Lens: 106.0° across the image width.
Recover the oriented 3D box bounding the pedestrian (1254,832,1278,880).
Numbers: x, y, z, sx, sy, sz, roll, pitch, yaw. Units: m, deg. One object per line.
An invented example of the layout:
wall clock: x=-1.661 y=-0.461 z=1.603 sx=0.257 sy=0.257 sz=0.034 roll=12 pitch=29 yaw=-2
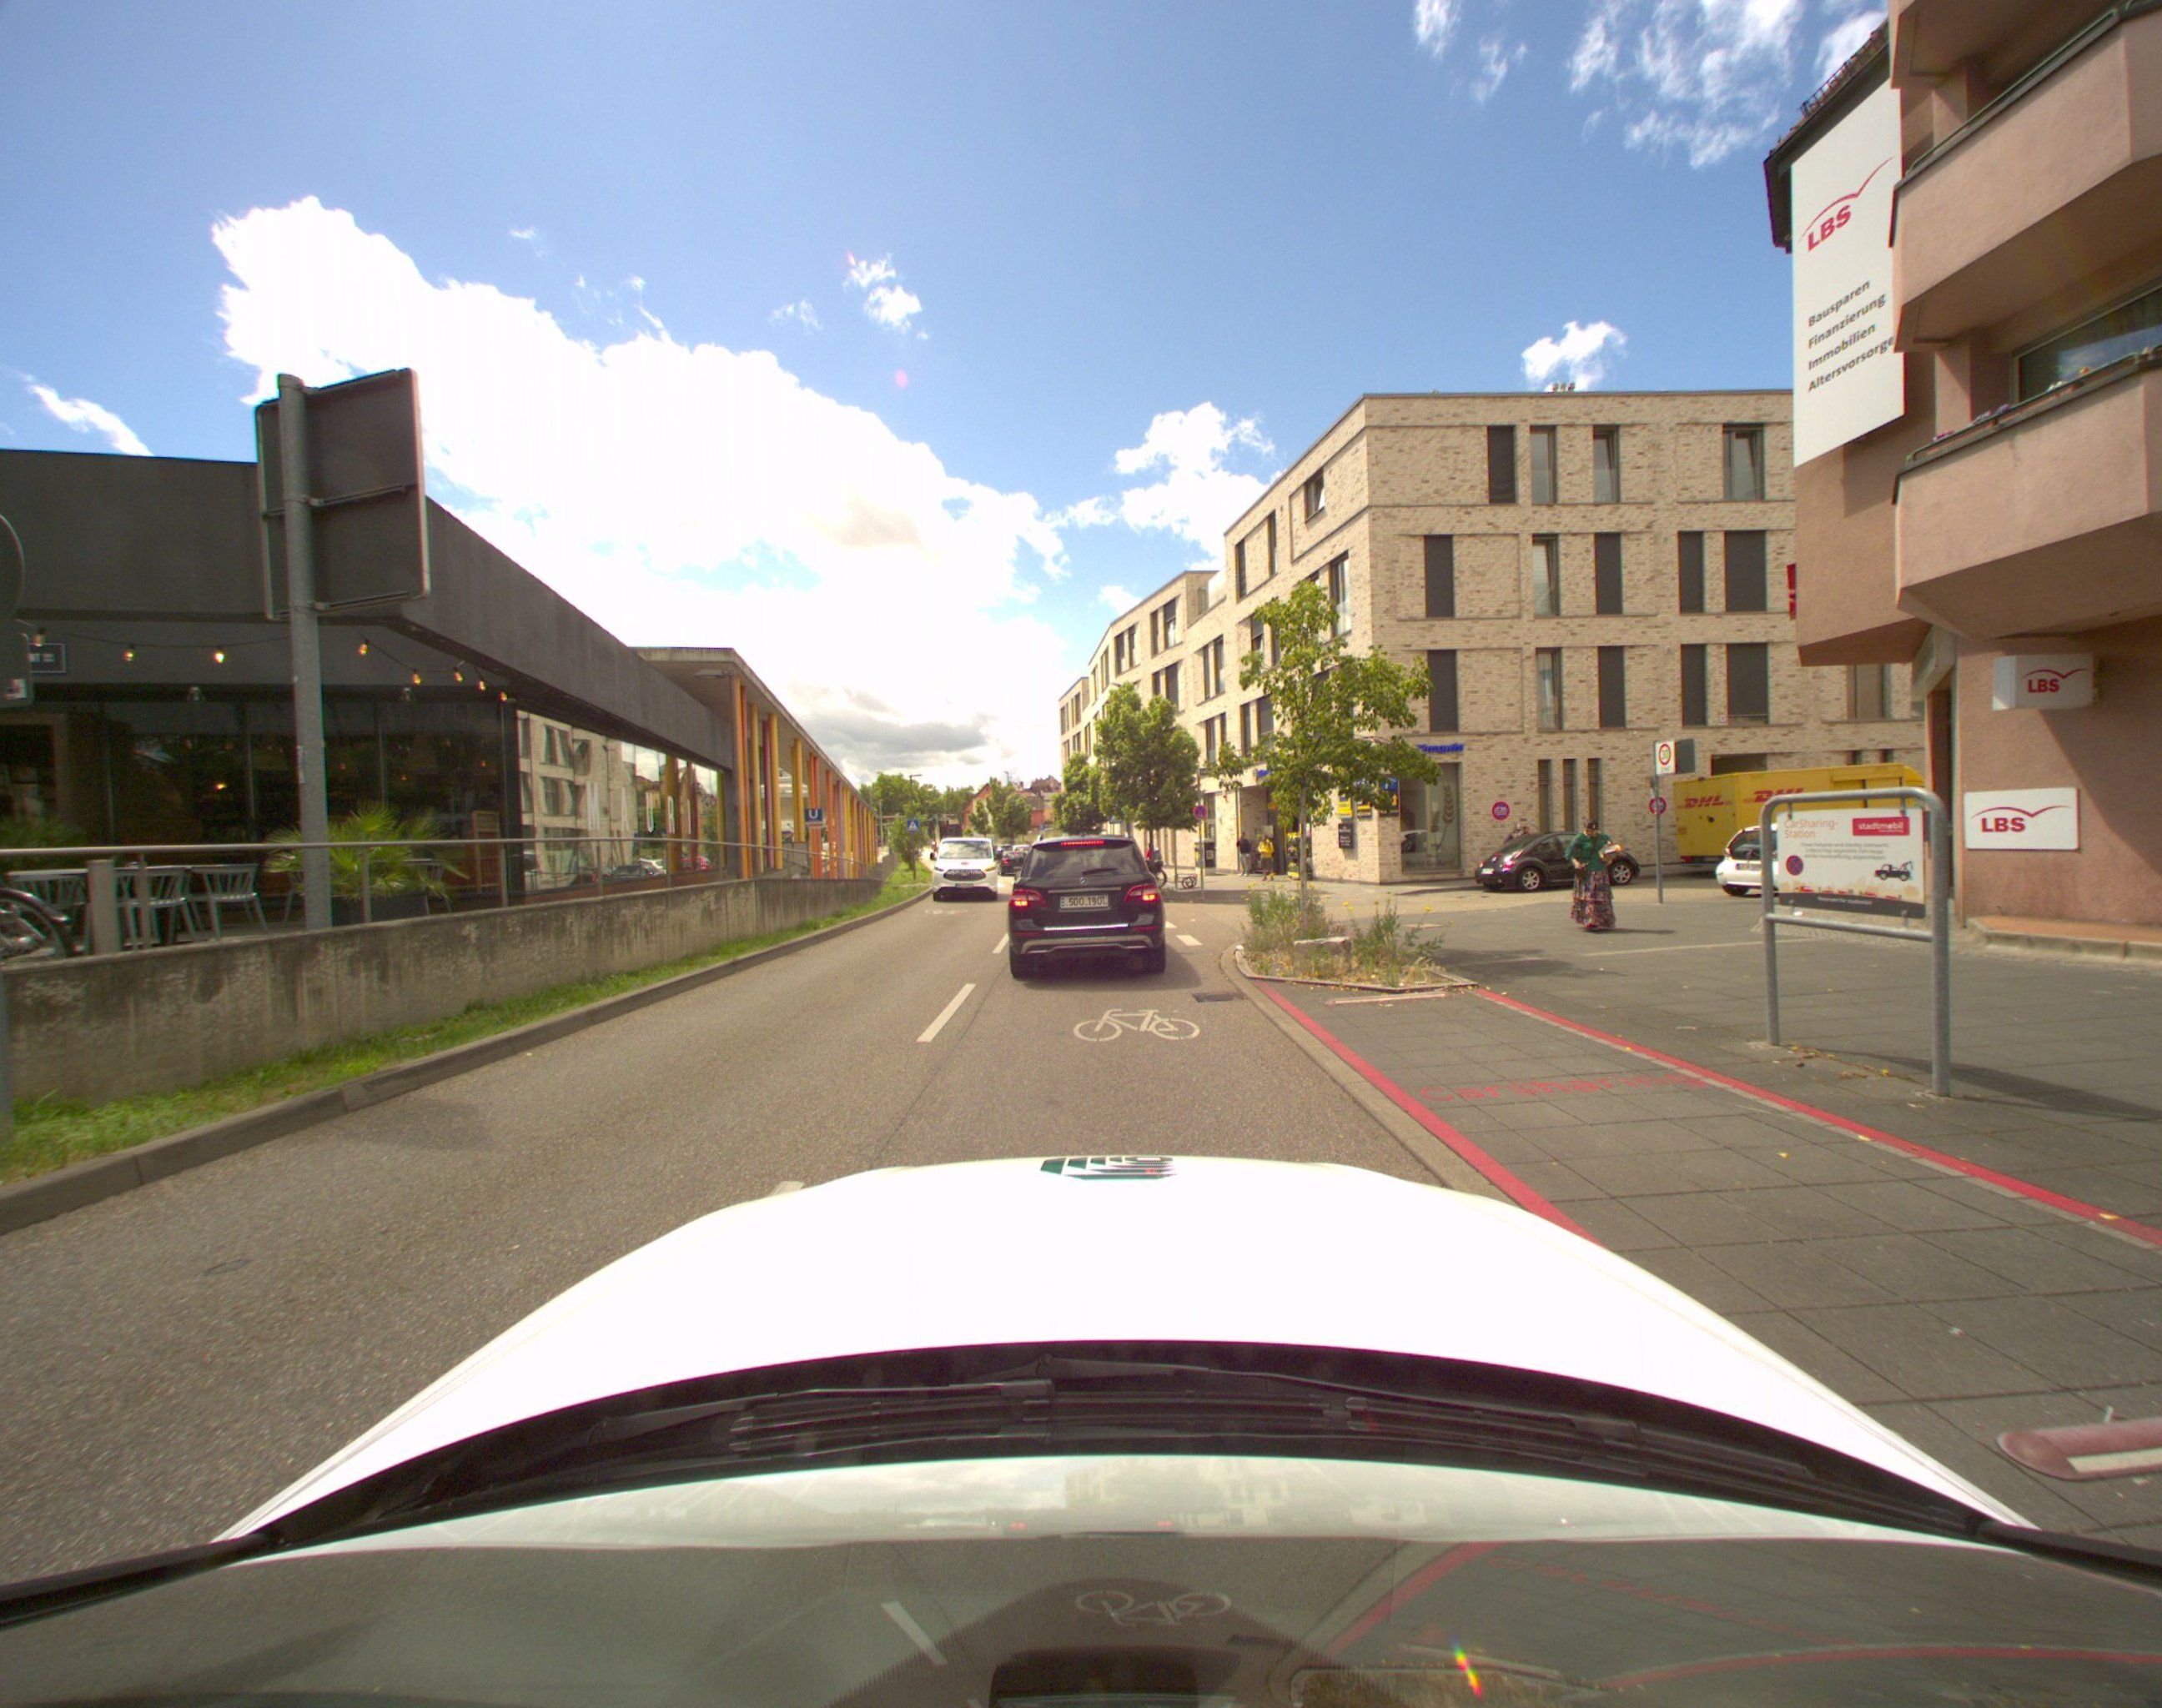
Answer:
pedestrian: x=6.739 y=0.064 z=29.641 sx=0.651 sy=1.692 sz=0.635 roll=-2 pitch=1 yaw=28

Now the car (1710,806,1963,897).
car: x=14.680 y=-0.058 z=15.957 sx=3.371 sy=1.477 sz=1.718 roll=-4 pitch=1 yaw=-1

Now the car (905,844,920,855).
car: x=-22.531 y=-0.639 z=108.909 sx=1.813 sy=1.469 sz=3.892 roll=-1 pitch=1 yaw=-12

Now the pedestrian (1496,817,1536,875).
pedestrian: x=12.686 y=-0.227 z=23.747 sx=0.557 sy=1.671 sz=0.807 roll=0 pitch=-1 yaw=-33

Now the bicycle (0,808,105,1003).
bicycle: x=-7.030 y=0.330 z=4.936 sx=1.541 sy=1.127 sz=0.534 roll=-3 pitch=0 yaw=1

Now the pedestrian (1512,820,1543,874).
pedestrian: x=13.212 y=-0.210 z=24.112 sx=0.524 sy=1.573 sz=0.597 roll=0 pitch=-1 yaw=-33

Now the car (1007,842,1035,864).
car: x=-4.626 y=-0.094 z=62.474 sx=1.693 sy=1.483 sz=3.784 roll=-4 pitch=2 yaw=-11

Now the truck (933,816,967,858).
truck: x=-15.121 y=-1.889 z=93.485 sx=3.207 sy=4.535 sz=8.988 roll=-1 pitch=0 yaw=-13

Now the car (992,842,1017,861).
car: x=-6.740 y=-0.224 z=71.549 sx=1.693 sy=1.461 sz=4.131 roll=-4 pitch=2 yaw=-11

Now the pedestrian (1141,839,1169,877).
pedestrian: x=3.086 y=0.160 z=34.030 sx=0.814 sy=1.565 sz=0.924 roll=-1 pitch=-1 yaw=-18

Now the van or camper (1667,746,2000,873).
van or camper: x=19.890 y=-1.122 z=21.741 sx=6.839 sy=2.736 sz=2.274 roll=-4 pitch=-1 yaw=-3

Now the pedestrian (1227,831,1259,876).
pedestrian: x=6.556 y=-0.030 z=33.029 sx=1.017 sy=1.741 sz=0.656 roll=-3 pitch=0 yaw=-16

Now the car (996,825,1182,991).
car: x=0.159 y=0.566 z=11.416 sx=1.986 sy=1.746 sz=4.534 roll=-4 pitch=1 yaw=2

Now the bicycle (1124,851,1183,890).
bicycle: x=2.438 y=0.557 z=27.601 sx=1.820 sy=1.201 sz=0.755 roll=-3 pitch=0 yaw=-6

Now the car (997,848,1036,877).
car: x=-3.708 y=0.440 z=46.363 sx=1.727 sy=1.456 sz=3.795 roll=-3 pitch=2 yaw=-11

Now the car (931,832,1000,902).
car: x=-3.700 y=0.361 z=26.513 sx=1.991 sy=2.013 sz=5.381 roll=0 pitch=0 yaw=-7

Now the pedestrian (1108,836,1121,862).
pedestrian: x=1.972 y=-0.293 z=47.844 sx=0.606 sy=1.472 sz=0.789 roll=-3 pitch=2 yaw=-5

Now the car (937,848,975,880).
car: x=-6.263 y=0.458 z=40.564 sx=1.772 sy=1.464 sz=4.220 roll=-1 pitch=1 yaw=-10

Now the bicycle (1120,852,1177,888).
bicycle: x=2.339 y=0.563 z=28.425 sx=1.820 sy=1.131 sz=0.755 roll=-3 pitch=0 yaw=-6

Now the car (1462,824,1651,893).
car: x=12.300 y=0.090 z=21.230 sx=3.886 sy=1.477 sz=1.781 roll=-4 pitch=1 yaw=-4

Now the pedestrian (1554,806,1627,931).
pedestrian: x=7.035 y=0.188 z=11.252 sx=0.737 sy=1.638 sz=0.933 roll=-4 pitch=1 yaw=33

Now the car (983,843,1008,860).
car: x=-8.214 y=-0.304 z=78.018 sx=1.867 sy=1.451 sz=4.624 roll=-4 pitch=2 yaw=-12

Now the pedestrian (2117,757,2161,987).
pedestrian: x=8.278 y=0.112 z=5.710 sx=0.714 sy=1.685 sz=0.943 roll=-3 pitch=-1 yaw=-3

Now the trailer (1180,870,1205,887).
trailer: x=3.765 y=0.817 z=27.539 sx=0.718 sy=0.528 sz=0.811 roll=-2 pitch=0 yaw=-2
